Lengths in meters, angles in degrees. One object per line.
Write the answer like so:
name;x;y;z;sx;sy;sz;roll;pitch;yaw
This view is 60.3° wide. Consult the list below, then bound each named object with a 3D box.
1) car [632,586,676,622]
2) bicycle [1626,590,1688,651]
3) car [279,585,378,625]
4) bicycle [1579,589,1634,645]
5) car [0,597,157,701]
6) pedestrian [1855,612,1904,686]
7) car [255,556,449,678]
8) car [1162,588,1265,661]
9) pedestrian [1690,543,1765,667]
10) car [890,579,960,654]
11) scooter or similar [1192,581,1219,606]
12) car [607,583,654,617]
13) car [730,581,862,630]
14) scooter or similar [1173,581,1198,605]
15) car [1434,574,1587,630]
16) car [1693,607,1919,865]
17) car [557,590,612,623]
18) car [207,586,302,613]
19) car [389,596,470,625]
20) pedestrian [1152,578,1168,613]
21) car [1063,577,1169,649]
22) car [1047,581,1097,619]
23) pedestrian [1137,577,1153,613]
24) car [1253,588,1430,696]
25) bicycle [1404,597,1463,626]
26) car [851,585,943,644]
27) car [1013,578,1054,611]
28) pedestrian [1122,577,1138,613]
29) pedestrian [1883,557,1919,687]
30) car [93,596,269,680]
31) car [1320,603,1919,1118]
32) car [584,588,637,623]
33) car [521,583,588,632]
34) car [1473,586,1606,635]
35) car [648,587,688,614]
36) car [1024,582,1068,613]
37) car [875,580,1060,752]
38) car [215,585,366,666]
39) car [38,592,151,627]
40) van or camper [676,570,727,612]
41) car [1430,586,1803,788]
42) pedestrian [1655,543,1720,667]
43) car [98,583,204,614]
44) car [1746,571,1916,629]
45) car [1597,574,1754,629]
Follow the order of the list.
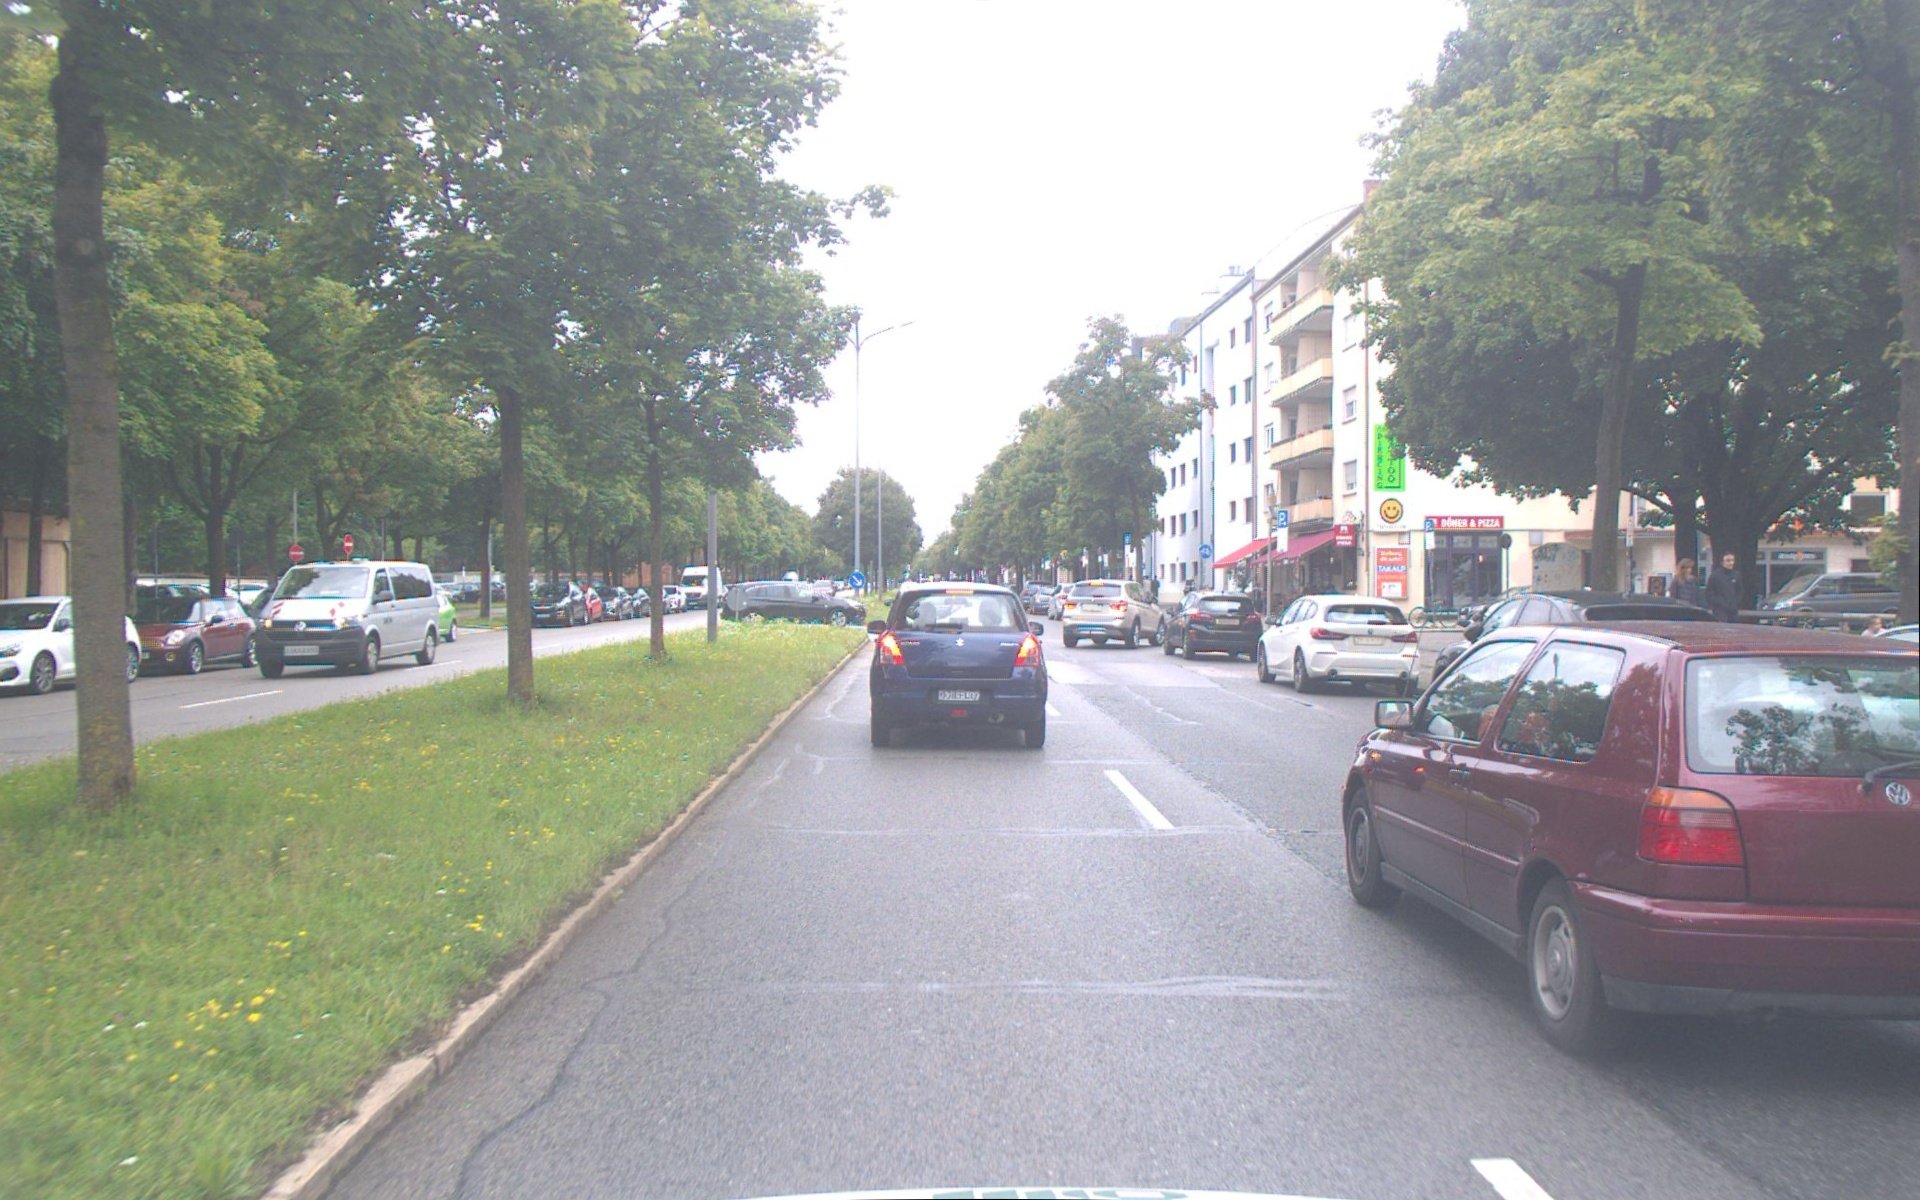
car;-15.667;0.189;84.796;1.599;1.771;3.877;1;0;-2
bicycle;13.269;0.367;31.522;0.373;1.122;1.883;1;0;0
car;-28.539;0.239;74.850;3.843;1.748;1.670;1;0;-7
bicycle;13.208;0.335;33.828;0.381;1.124;1.853;1;0;0
car;-14.566;0.729;26.259;1.574;1.469;4.278;-2;1;-1
pedestrian;12.324;0.651;22.163;0.399;0.966;0.435;-1;0;-2
car;-10.875;0.266;29.973;1.763;1.967;4.992;-2;0;-2
car;5.514;0.504;36.395;1.584;1.491;3.673;2;0;-1
pedestrian;12.125;0.074;26.153;0.715;1.923;0.919;-1;0;-2
car;-0.773;0.318;35.291;1.415;1.509;3.105;0;1;-2
scooter or similar;13.104;-0.371;88.214;1.011;1.330;2.755;0;1;0
car;-15.576;-0.011;78.420;1.558;1.585;3.877;1;0;-2
car;-5.179;0.141;52.139;4.043;1.494;1.837;0;1;-7
scooter or similar;12.759;-0.425;93.551;1.011;1.330;2.755;0;1;0
car;17.776;0.046;53.528;4.308;1.690;1.869;-1;0;-6
car;6.195;0.800;9.761;1.603;1.410;4.241;1;1;-4
car;-15.451;0.253;68.180;1.558;1.335;3.379;1;0;-2
car;-39.939;-0.020;93.661;4.595;1.471;1.672;1;0;-1
car;-27.981;0.539;87.323;3.792;1.471;1.670;1;0;-7
pedestrian;11.512;-0.268;95.143;0.778;2.049;1.006;0;0;-1
car;4.036;0.286;42.092;1.826;1.690;4.410;1;1;17
car;4.871;-0.020;72.281;1.756;1.585;4.223;-1;1;-2
pedestrian;10.641;-0.279;95.080;0.778;2.049;1.006;0;0;-1
car;5.877;0.592;25.941;1.648;1.491;4.136;2;1;-2
bicycle;15.906;0.386;55.580;1.810;0.974;0.557;1;0;-3
car;-1.753;0.363;44.716;1.655;1.488;3.718;0;1;-16
car;3.966;-0.305;89.533;1.828;1.712;4.222;-1;1;-3
pedestrian;9.779;-0.270;95.086;0.778;2.049;1.006;0;0;-1
pedestrian;12.930;0.280;22.002;0.821;1.710;0.834;-1;0;-2
car;-14.694;0.675;31.413;1.558;1.421;3.631;-2;1;0
car;2.761;0.754;6.663;1.648;1.408;3.918;1;0;-2
car;-15.414;0.230;73.075;1.633;1.471;3.877;1;0;-2
car;-15.347;0.281;62.734;1.682;1.771;3.877;1;0;-2
car;17.814;0.313;50.935;3.474;1.442;1.872;0;1;2
car;-15.869;0.015;90.126;1.599;1.456;3.877;1;0;-2
car;4.398;-0.158;84.923;1.828;1.544;4.222;-1;1;-3
car;-0.006;0.565;16.736;1.648;1.528;3.917;0;1;-2
car;-14.839;0.517;36.918;1.657;1.614;4.369;-2;1;-2
car;-31.812;0.342;60.798;4.324;1.222;1.669;1;0;31
van or camper;-16.231;-0.574;104.300;2.073;2.525;7.448;1;0;0
car;5.869;0.680;15.386;1.682;1.560;4.275;1;1;-1
pedestrian;11.469;0.073;26.094;0.576;1.923;0.901;-1;0;-2
car;-40.499;-0.069;82.855;4.414;1.502;1.672;1;0;-1
car;28.533;-0.019;54.240;4.640;1.804;1.871;-1;0;-3
car;23.166;0.035;53.658;4.306;1.690;1.870;-1;0;-4
